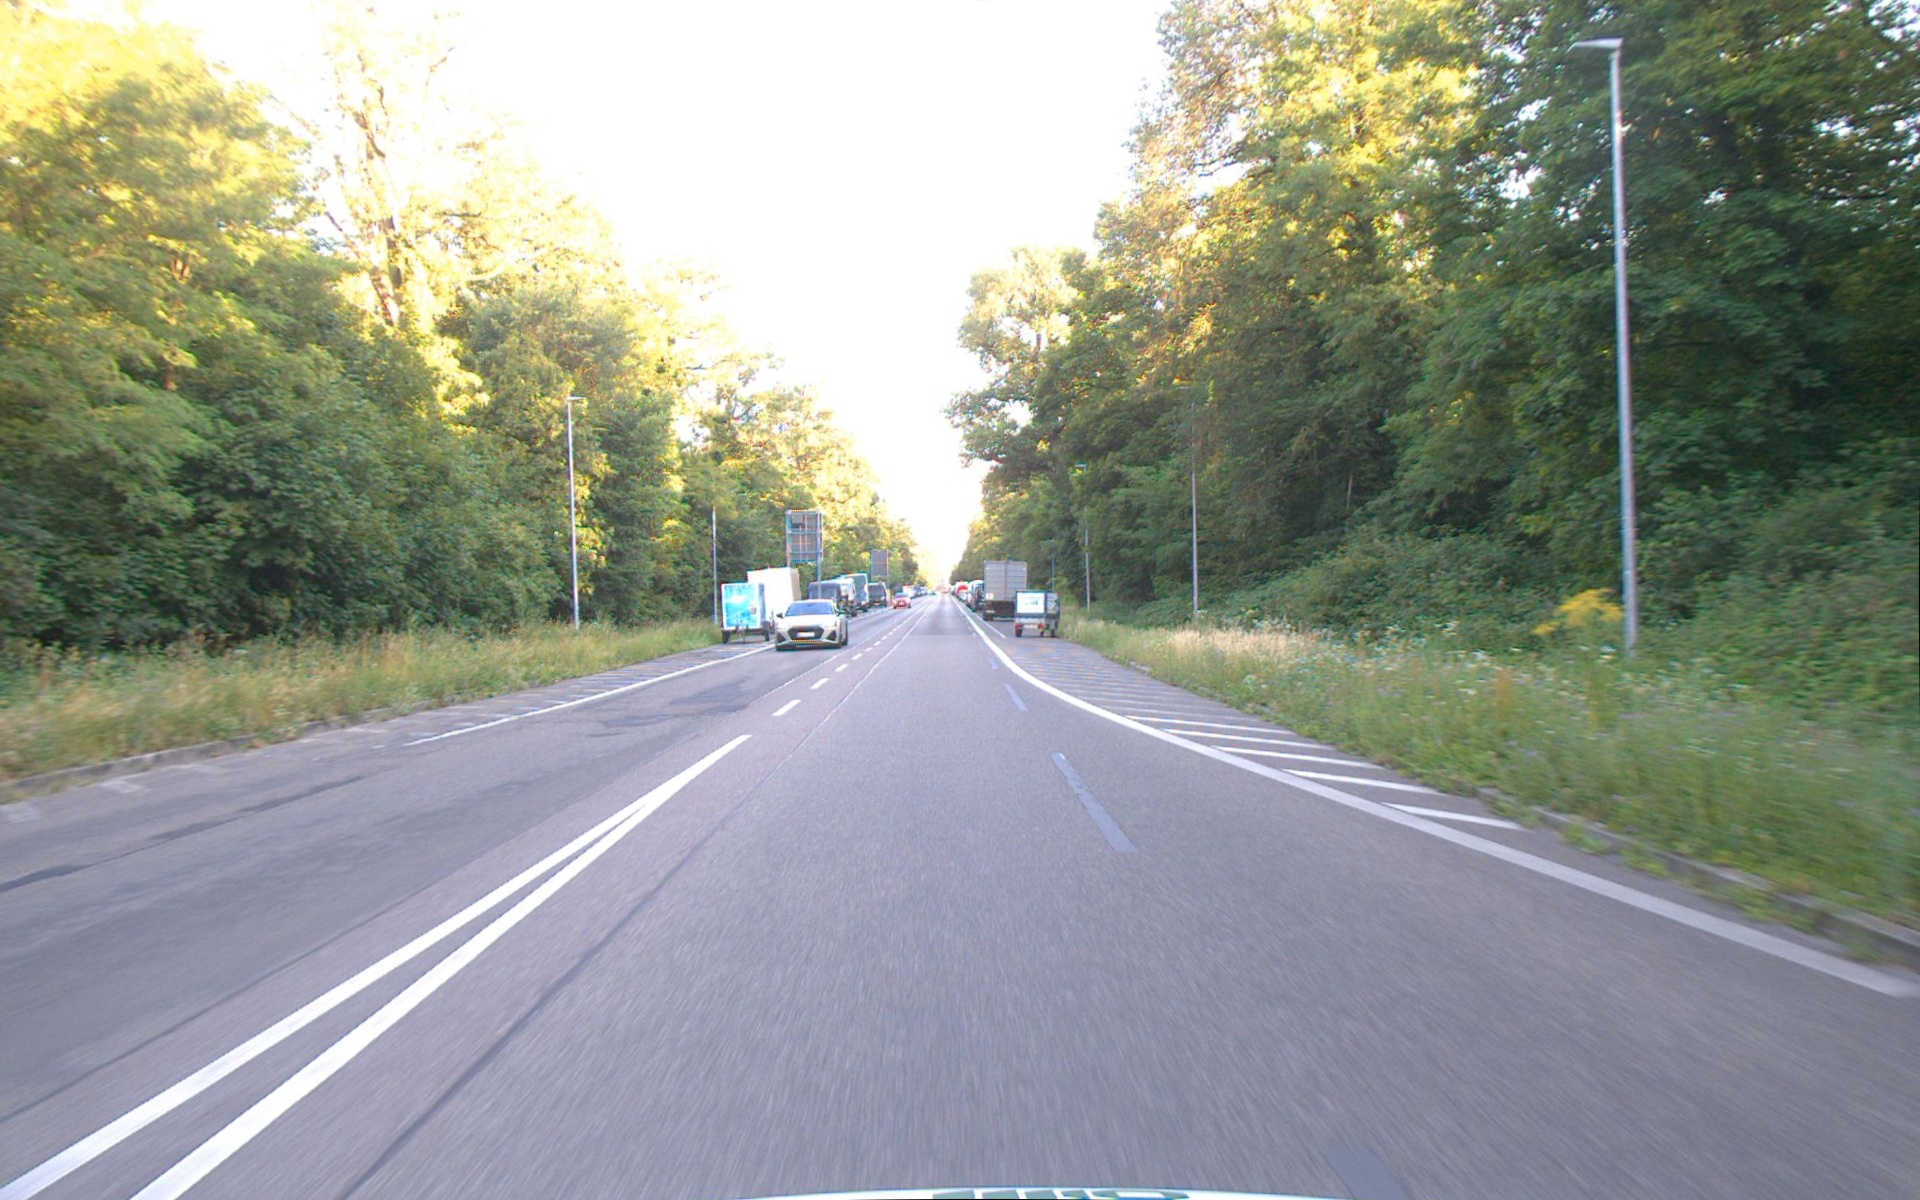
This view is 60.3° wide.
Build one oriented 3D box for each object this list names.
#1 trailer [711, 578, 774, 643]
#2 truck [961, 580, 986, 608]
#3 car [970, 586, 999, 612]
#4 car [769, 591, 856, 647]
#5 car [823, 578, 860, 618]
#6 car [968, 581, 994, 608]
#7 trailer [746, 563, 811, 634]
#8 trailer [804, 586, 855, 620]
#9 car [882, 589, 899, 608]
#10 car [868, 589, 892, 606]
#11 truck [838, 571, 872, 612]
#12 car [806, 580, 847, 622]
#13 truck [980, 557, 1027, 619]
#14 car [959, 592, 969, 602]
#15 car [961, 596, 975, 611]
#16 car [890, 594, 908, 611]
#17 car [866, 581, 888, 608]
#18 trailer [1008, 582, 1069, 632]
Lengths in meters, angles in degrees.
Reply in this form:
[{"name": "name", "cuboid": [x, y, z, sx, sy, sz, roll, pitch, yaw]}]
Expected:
[{"name": "trailer", "cuboid": [-7.815, 0.350, 59.768, 1.780, 2.205, 4.141, -2, 0, -2]}, {"name": "truck", "cuboid": [1.266, -0.565, 158.272, 2.099, 2.706, 4.297, 0, 0, -3]}, {"name": "car", "cuboid": [1.833, -0.086, 126.010, 1.954, 1.989, 4.297, 0, 0, -3]}, {"name": "car", "cuboid": [-4.412, 0.529, 50.066, 2.021, 1.460, 4.467, -4, 0, 2]}, {"name": "car", "cuboid": [-8.453, -0.139, 118.229, 2.203, 2.693, 5.720, -2, 0, -1]}, {"name": "car", "cuboid": [1.824, -0.481, 145.274, 2.099, 2.354, 4.297, 0, 0, -3]}, {"name": "trailer", "cuboid": [-8.209, -0.061, 75.373, 2.279, 2.975, 5.625, -3, 0, -1]}, {"name": "trailer", "cuboid": [-8.857, 0.167, 112.694, 1.922, 2.192, 3.931, -2, 0, 20]}, {"name": "car", "cuboid": [-8.243, -0.178, 196.926, 1.666, 2.047, 3.999, -6, 1, -1]}, {"name": "car", "cuboid": [-9.979, -0.284, 206.186, 1.664, 2.049, 4.002, 1, 1, 18]}, {"name": "truck", "cuboid": [-9.088, -0.714, 143.794, 2.453, 3.387, 6.840, -2, 0, -1]}, {"name": "car", "cuboid": [-8.185, 0.059, 101.806, 1.953, 2.405, 5.765, -4, 0, -1]}, {"name": "truck", "cuboid": [2.382, -0.647, 92.112, 2.535, 3.312, 7.221, 0, 0, 1]}, {"name": "car", "cuboid": [0.524, -0.414, 223.544, 1.398, 1.243, 3.411, 0, 0, -1]}, {"name": "car", "cuboid": [0.757, 0.334, 164.703, 1.124, 1.273, 2.752, -6, 1, -3]}, {"name": "car", "cuboid": [-5.849, 0.236, 159.763, 1.649, 1.512, 4.036, -2, 0, -2]}, {"name": "car", "cuboid": [-8.932, -0.592, 178.442, 2.142, 2.837, 5.333, -2, 0, -1]}, {"name": "trailer", "cuboid": [2.867, 0.234, 59.521, 1.425, 1.691, 3.780, -2, 0, 14]}]
